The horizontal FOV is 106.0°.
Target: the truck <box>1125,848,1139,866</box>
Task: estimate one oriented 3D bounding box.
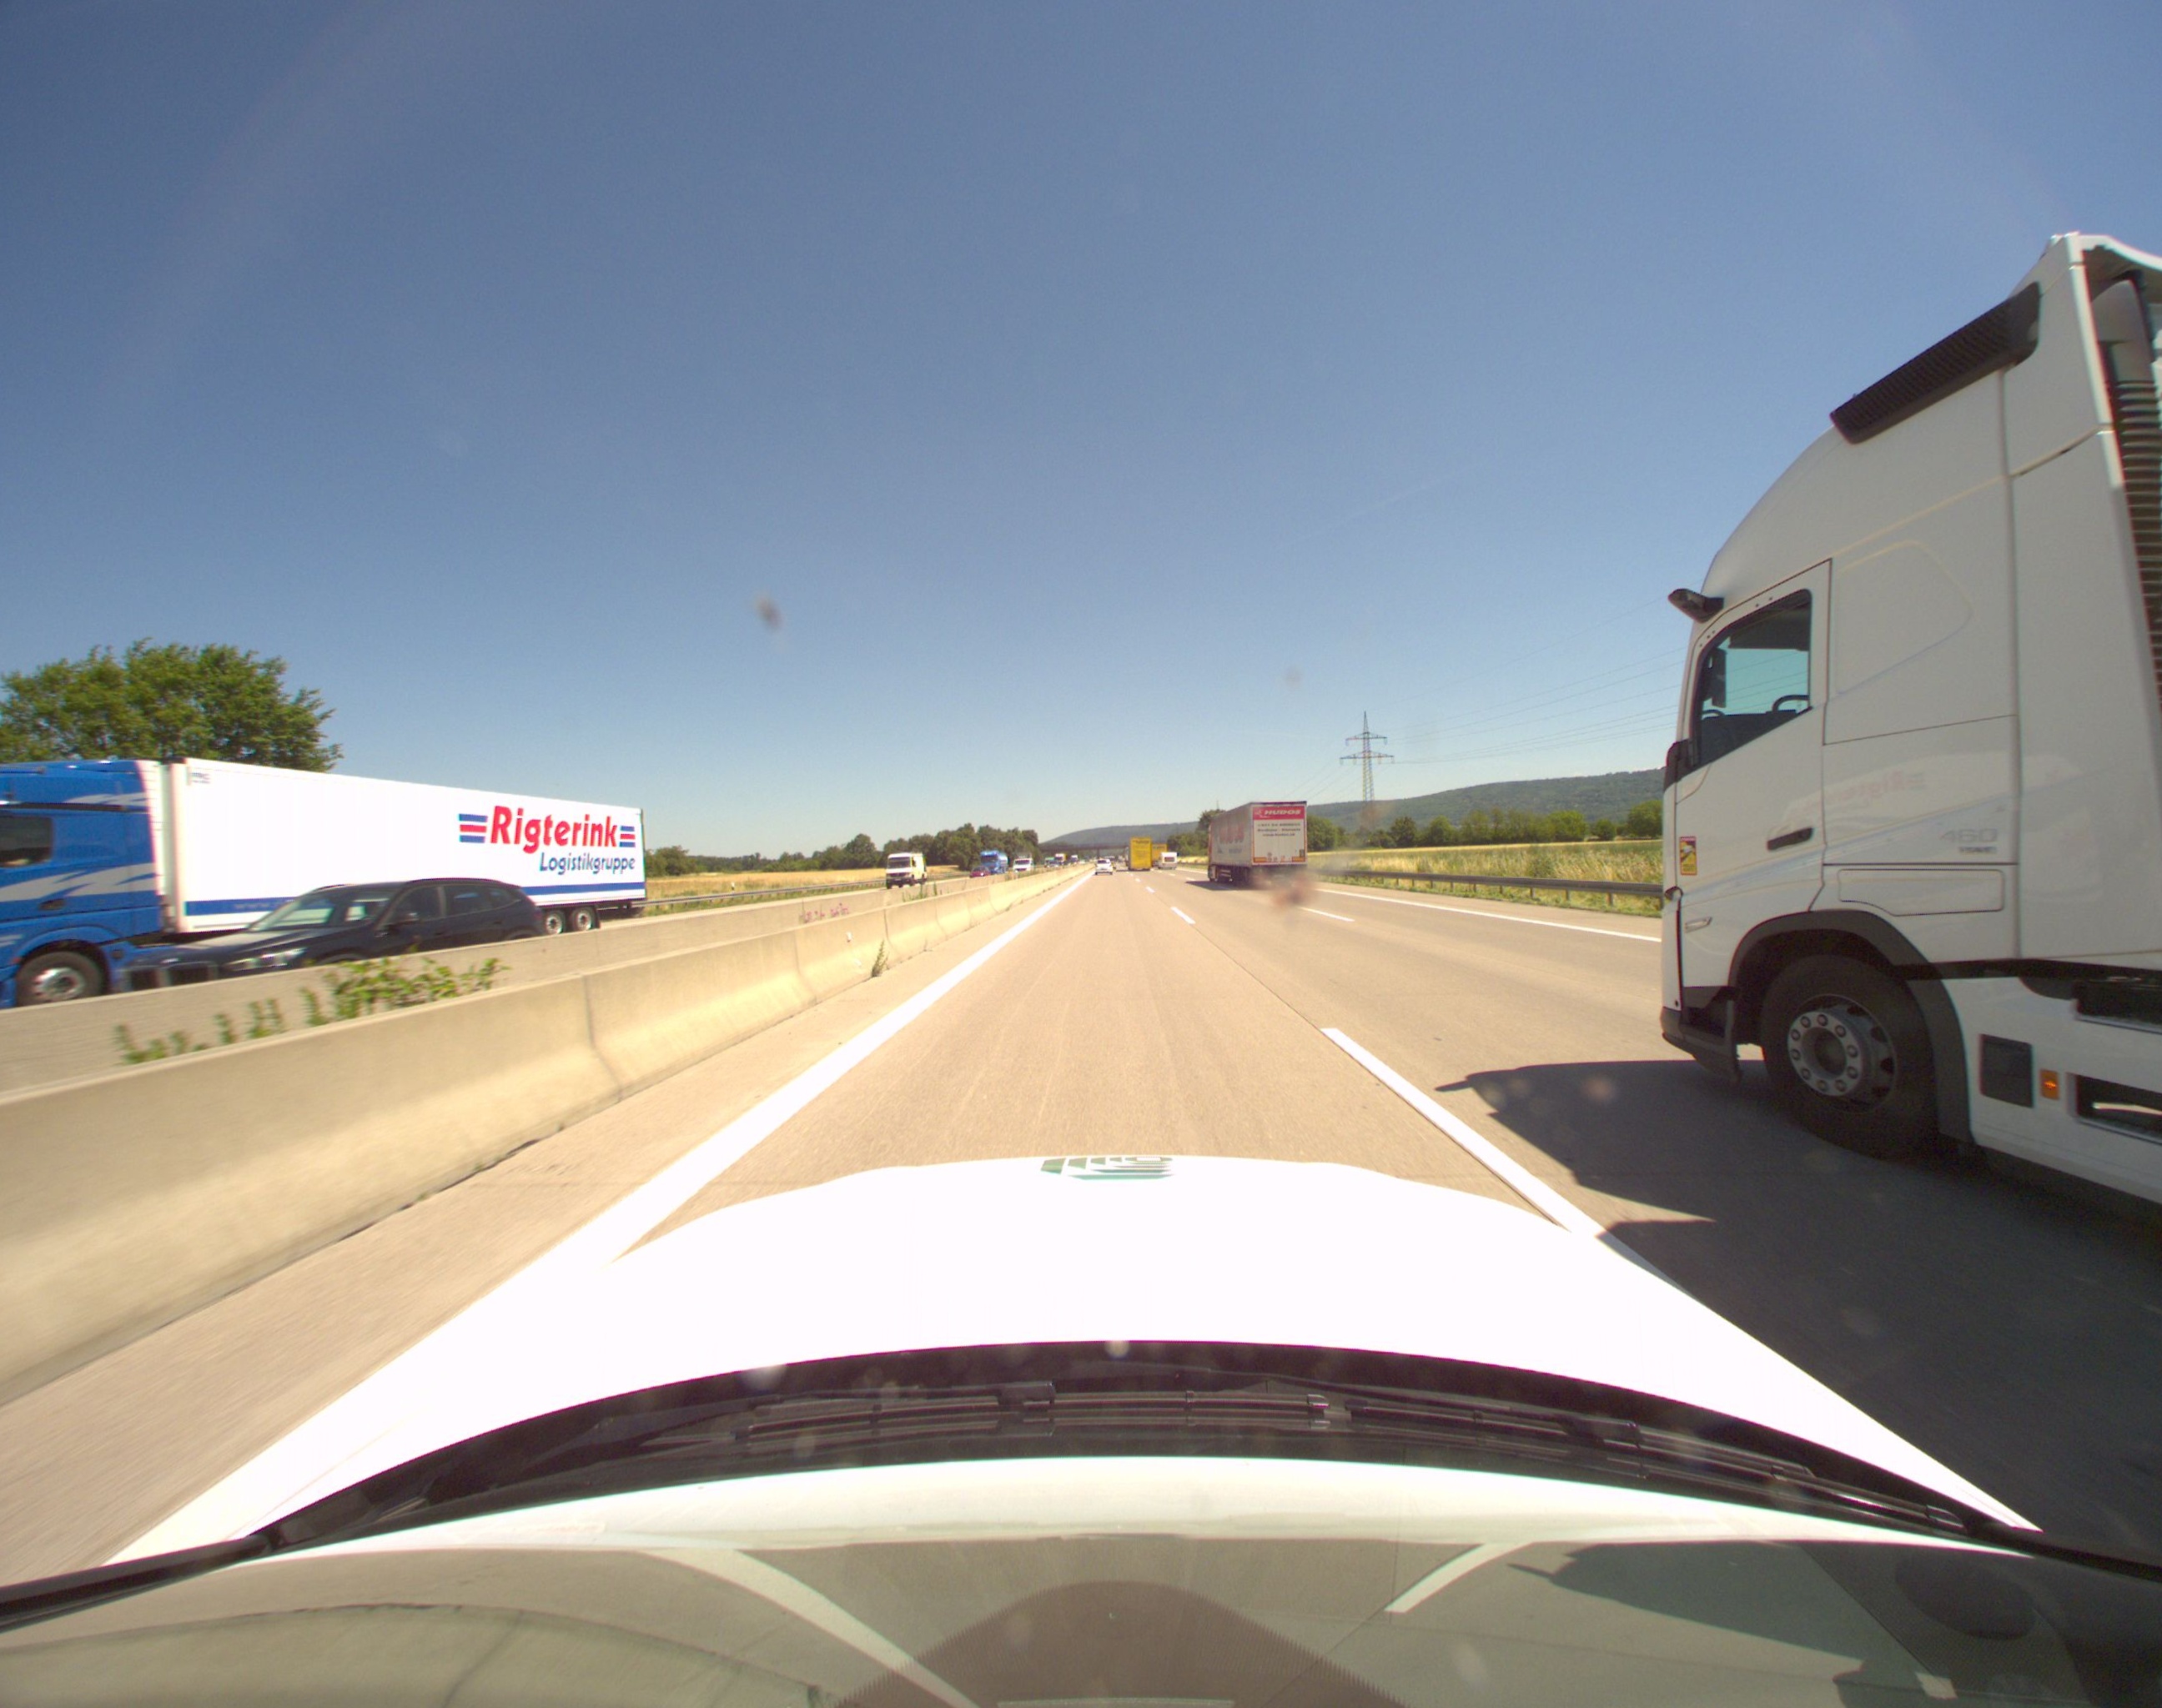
[{"bbox_3d":[10.582,0.632,169.085,2.809,3.761,6.286,0,0,2],"label":"truck"}]

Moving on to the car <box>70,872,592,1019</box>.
[{"bbox_3d":[-8.815,0.946,10.454,1.891,1.326,5.071,0,0,2],"label":"car"}]

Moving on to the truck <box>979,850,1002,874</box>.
[{"bbox_3d":[-12.888,1.111,116.243,2.475,3.309,5.265,0,0,1],"label":"truck"}]

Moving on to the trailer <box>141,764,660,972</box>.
[{"bbox_3d":[-16.042,0.283,21.574,2.897,3.909,12.515,0,0,2],"label":"trailer"}]

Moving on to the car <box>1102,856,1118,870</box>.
[{"bbox_3d":[4.314,1.289,120.157,2.245,2.014,4.301,0,0,3],"label":"car"}]

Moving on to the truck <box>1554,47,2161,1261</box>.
[{"bbox_3d":[5.145,-0.670,3.660,2.973,4.062,5.480,0,0,2],"label":"truck"}]

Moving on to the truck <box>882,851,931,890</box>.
[{"bbox_3d":[-14.528,1.320,68.243,2.313,3.084,6.981,0,0,2],"label":"truck"}]

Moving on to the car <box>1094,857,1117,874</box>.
[{"bbox_3d":[2.383,1.112,79.383,2.098,1.536,4.126,0,0,3],"label":"car"}]

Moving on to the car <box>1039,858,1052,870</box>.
[{"bbox_3d":[-7.436,2.081,170.607,2.141,2.551,6.466,-2,0,2],"label":"car"}]

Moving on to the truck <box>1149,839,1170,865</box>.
[{"bbox_3d":[13.621,-0.286,141.558,2.987,4.314,9.689,0,0,2],"label":"truck"}]

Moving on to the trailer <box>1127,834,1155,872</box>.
[{"bbox_3d":[7.520,-0.080,103.947,3.203,4.564,13.464,0,0,2],"label":"trailer"}]

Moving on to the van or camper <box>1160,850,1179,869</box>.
[{"bbox_3d":[12.077,0.709,111.799,2.216,2.531,5.433,0,0,2],"label":"van or camper"}]

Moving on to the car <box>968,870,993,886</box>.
[{"bbox_3d":[-9.851,2.352,79.943,1.682,1.459,4.489,-2,0,2],"label":"car"}]

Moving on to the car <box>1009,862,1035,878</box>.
[{"bbox_3d":[-6.362,1.711,88.371,2.130,1.679,5.647,-2,0,2],"label":"car"}]

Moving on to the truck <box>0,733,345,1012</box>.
[{"bbox_3d":[-16.307,0.272,13.517,2.886,3.864,5.687,0,0,2],"label":"truck"}]

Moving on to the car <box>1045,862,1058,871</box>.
[{"bbox_3d":[-4.489,1.871,125.048,1.773,1.348,4.453,1,0,1],"label":"car"}]

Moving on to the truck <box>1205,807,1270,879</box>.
[{"bbox_3d":[9.431,-0.633,49.638,2.895,4.101,6.274,0,0,2],"label":"truck"}]

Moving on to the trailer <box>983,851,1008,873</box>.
[{"bbox_3d":[-12.726,1.179,122.279,2.506,3.272,9.255,0,0,1],"label":"trailer"}]

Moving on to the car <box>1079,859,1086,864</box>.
[{"bbox_3d":[0.631,2.344,258.088,1.986,1.364,4.672,-4,0,2],"label":"car"}]

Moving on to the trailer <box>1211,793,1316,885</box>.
[{"bbox_3d":[9.196,-0.653,42.971,2.863,4.100,13.517,0,0,2],"label":"trailer"}]
